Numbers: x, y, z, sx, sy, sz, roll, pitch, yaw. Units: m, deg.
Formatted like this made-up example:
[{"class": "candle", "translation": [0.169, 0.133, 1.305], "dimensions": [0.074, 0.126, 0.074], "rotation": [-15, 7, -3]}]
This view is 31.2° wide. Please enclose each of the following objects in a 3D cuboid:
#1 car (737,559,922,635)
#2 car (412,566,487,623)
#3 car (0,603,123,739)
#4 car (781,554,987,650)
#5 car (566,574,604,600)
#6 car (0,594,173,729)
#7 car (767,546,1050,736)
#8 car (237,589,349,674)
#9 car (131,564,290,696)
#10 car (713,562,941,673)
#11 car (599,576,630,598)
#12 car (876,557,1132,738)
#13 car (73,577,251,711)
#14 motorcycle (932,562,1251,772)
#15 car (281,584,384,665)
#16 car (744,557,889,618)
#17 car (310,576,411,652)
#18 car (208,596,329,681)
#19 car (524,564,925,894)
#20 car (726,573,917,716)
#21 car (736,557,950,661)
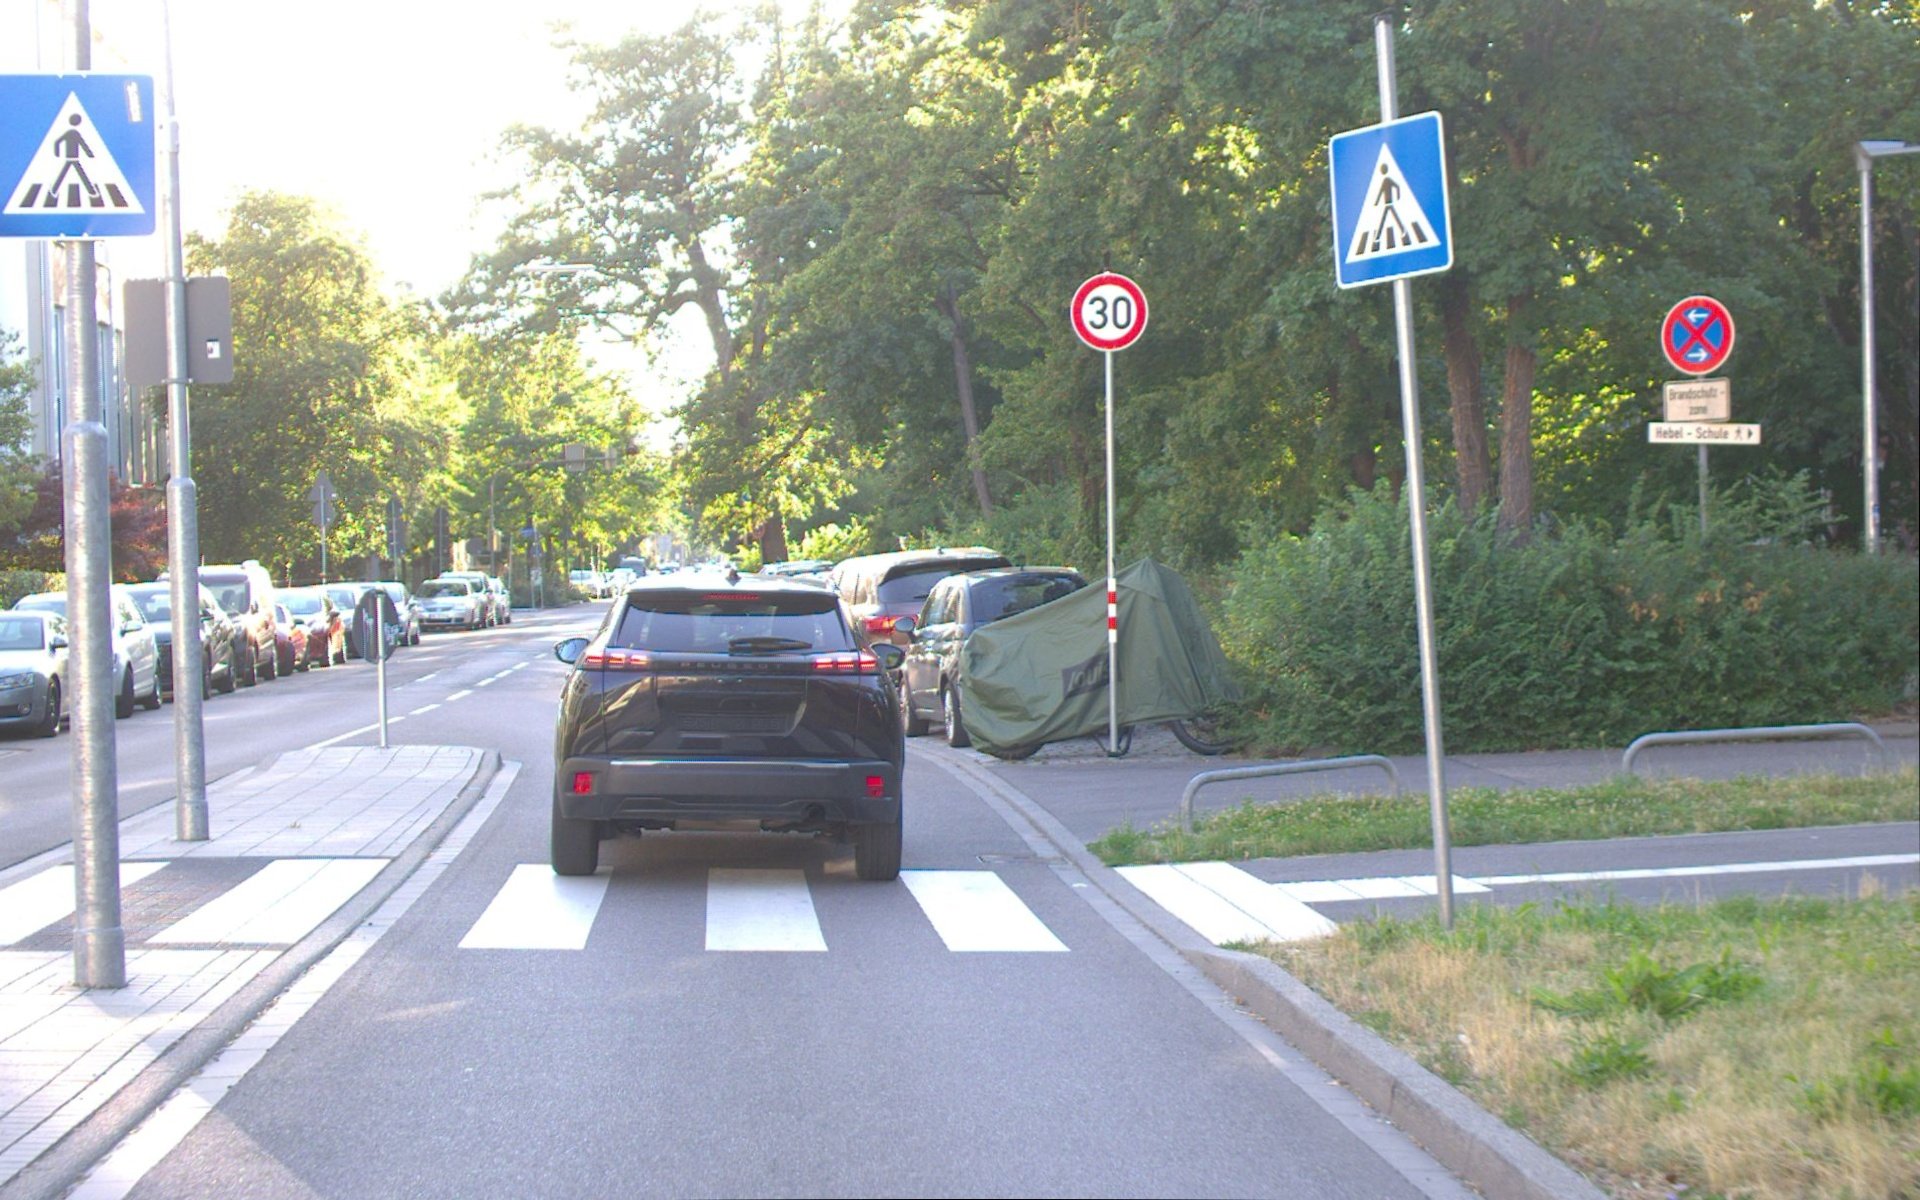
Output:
[{"class": "car", "translation": [-3.160, -0.086, 83.194], "dimensions": [4.337, 1.470, 1.742], "rotation": [-4, 2, -3]}, {"class": "car", "translation": [-14.340, -0.173, 96.716], "dimensions": [1.670, 1.488, 4.062], "rotation": [-2, 1, -3]}, {"class": "car", "translation": [-10.490, 0.759, 37.762], "dimensions": [1.742, 1.352, 4.397], "rotation": [-2, 1, -4]}, {"class": "car", "translation": [-1.467, 0.038, 65.082], "dimensions": [3.725, 1.493, 1.820], "rotation": [-5, 0, -3]}, {"class": "car", "translation": [-20.259, -0.716, 185.497], "dimensions": [1.810, 1.349, 4.001], "rotation": [-2, 1, -9]}, {"class": "car", "translation": [-11.012, 0.731, 42.989], "dimensions": [1.742, 1.528, 4.116], "rotation": [-2, 1, -6]}, {"class": "car", "translation": [-0.612, 0.376, 35.168], "dimensions": [1.921, 1.742, 4.667], "rotation": [-2, 1, -13]}, {"class": "car", "translation": [-12.328, 0.558, 63.729], "dimensions": [1.598, 1.450, 3.862], "rotation": [-2, 1, -5]}, {"class": "car", "translation": [-11.711, 0.429, 53.957], "dimensions": [1.807, 1.883, 4.239], "rotation": [-3, 1, -5]}, {"class": "car", "translation": [-2.238, 0.272, 57.301], "dimensions": [3.609, 1.520, 1.672], "rotation": [-5, 1, -5]}, {"class": "car", "translation": [-22.669, -0.870, 225.517], "dimensions": [1.810, 1.349, 3.980], "rotation": [-2, 1, -7]}, {"class": "car", "translation": [0.338, 0.391, 31.058], "dimensions": [1.619, 1.481, 3.420], "rotation": [-2, 1, -11]}, {"class": "car", "translation": [-11.206, 0.572, 48.533], "dimensions": [1.742, 1.670, 4.417], "rotation": [-3, 1, -5]}, {"class": "motorcycle", "translation": [1.039, 0.517, 26.848], "dimensions": [2.293, 1.539, 1.039], "rotation": [-2, 0, 12]}, {"class": "car", "translation": [-12.704, 0.474, 69.753], "dimensions": [1.598, 1.450, 4.056], "rotation": [-3, 1, -5]}, {"class": "car", "translation": [-4.209, -0.378, 101.212], "dimensions": [4.170, 1.704, 1.867], "rotation": [-1, 1, 1]}, {"class": "car", "translation": [-13.140, 0.288, 75.535], "dimensions": [1.598, 1.502, 3.787], "rotation": [-3, 1, -2]}, {"class": "car", "translation": [-11.843, 0.638, 59.045], "dimensions": [1.556, 1.275, 3.734], "rotation": [-3, 1, -5]}, {"class": "car", "translation": [-1.335, 0.612, 18.220], "dimensions": [1.767, 1.563, 3.381], "rotation": [1, 0, -9]}, {"class": "car", "translation": [-1.710, 0.488, 41.011], "dimensions": [1.650, 1.562, 4.302], "rotation": [-2, 1, -10]}, {"class": "car", "translation": [-2.148, 0.149, 62.376], "dimensions": [3.665, 1.547, 1.735], "rotation": [-5, 1, -5]}]
